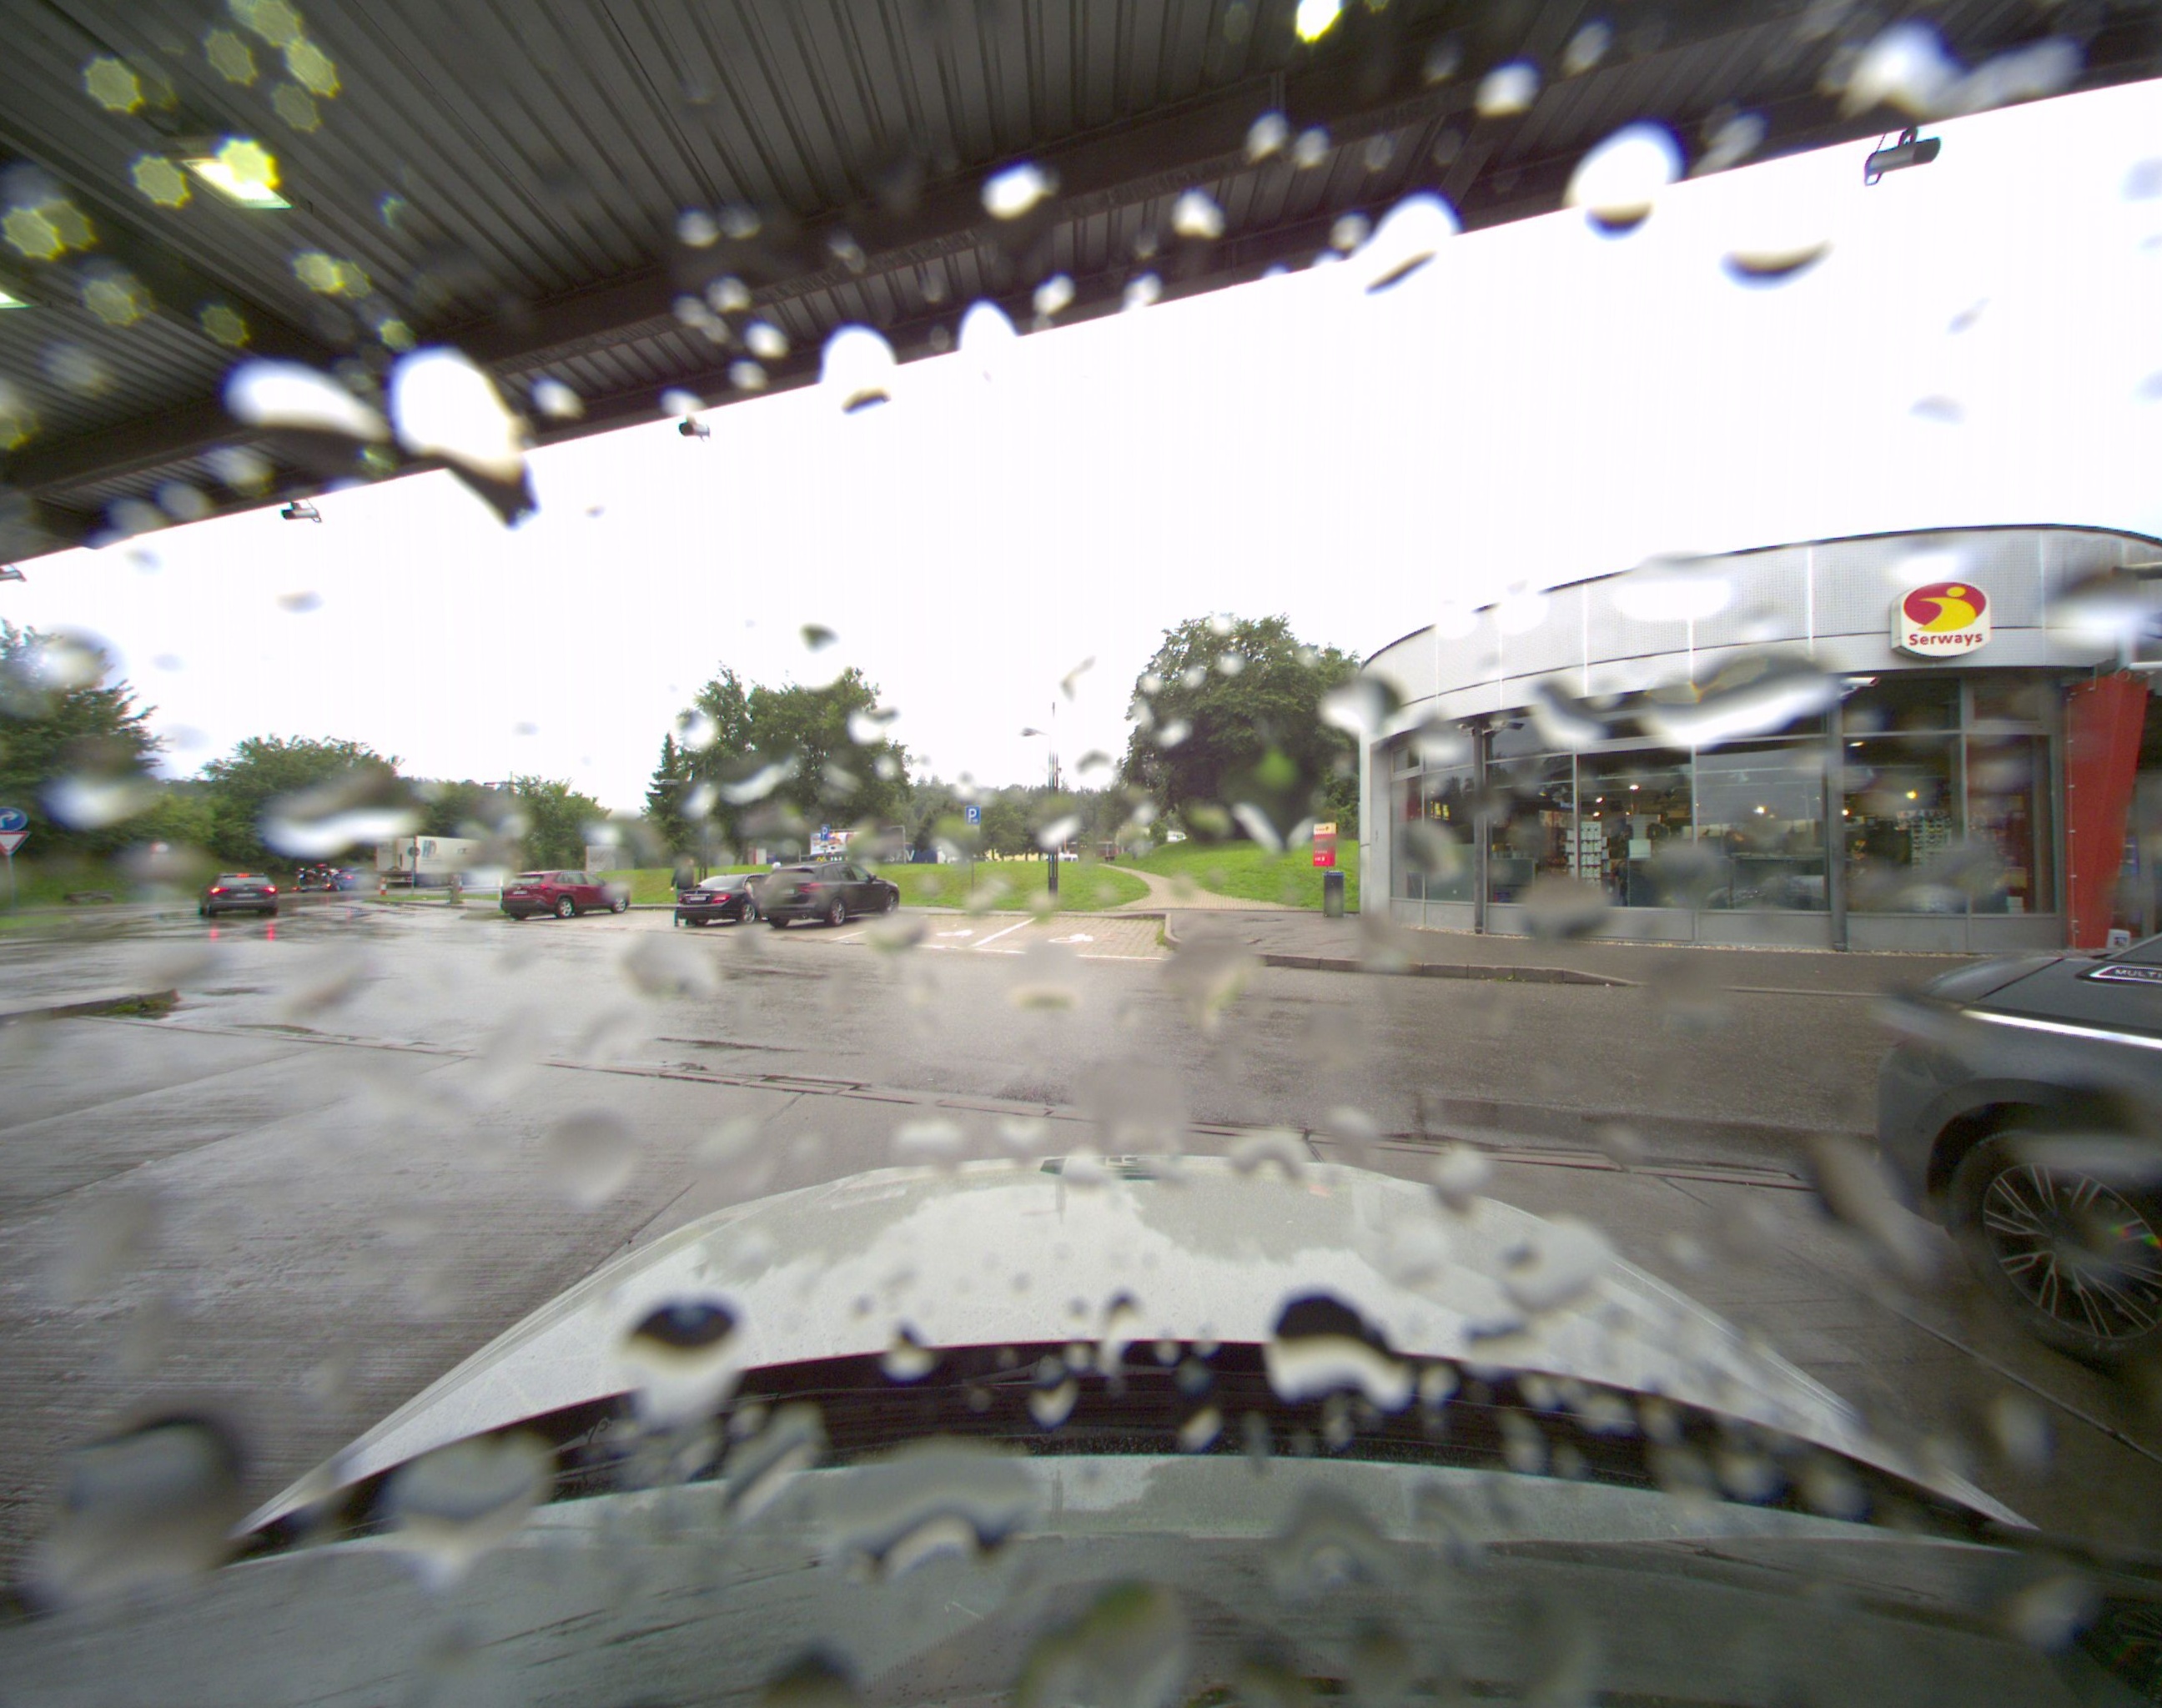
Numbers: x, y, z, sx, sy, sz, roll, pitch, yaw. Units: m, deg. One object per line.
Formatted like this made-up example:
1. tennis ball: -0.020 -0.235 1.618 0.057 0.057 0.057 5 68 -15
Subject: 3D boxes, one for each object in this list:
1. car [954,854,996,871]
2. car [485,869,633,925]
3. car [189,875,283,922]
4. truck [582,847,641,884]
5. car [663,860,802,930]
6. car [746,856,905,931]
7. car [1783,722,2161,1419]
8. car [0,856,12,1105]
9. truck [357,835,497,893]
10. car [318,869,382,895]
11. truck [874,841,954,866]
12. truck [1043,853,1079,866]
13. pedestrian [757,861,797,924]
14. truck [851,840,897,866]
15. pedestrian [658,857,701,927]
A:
1. car: -11.414 0.907 87.965 4.153 1.783 1.825 0 -1 -34
2. car: -18.144 1.439 28.589 1.928 1.644 4.352 -2 0 7
3. car: -32.646 1.673 31.444 3.948 1.678 2.013 -2 -1 37
4. truck: -41.310 1.020 71.937 2.480 3.085 7.323 0 -1 -13
5. car: -9.841 1.079 23.421 2.010 1.711 4.344 -2 0 1
6. car: -6.655 0.969 21.777 2.002 1.711 4.360 -2 0 14
7. car: 3.668 0.542 0.674 1.854 1.798 5.142 0 -1 2
8. car: -7.974 0.801 2.673 1.854 1.608 5.273 0 -1 2
9. truck: -55.451 0.835 69.974 3.550 4.340 16.899 0 -1 -18
10. car: -50.350 1.875 56.170 1.814 1.681 3.927 0 -1 -18
11. truck: -20.759 -0.059 102.343 2.165 2.920 13.175 -1 -1 26
12. truck: -3.254 0.873 134.102 5.356 2.014 2.381 -1 -1 26
13. pedestrian: -8.087 1.015 21.679 0.955 1.631 0.698 0 -1 -25
14. truck: -24.191 -0.091 95.452 2.165 2.920 5.419 -1 -1 27
15. pedestrian: -11.063 1.020 22.439 0.882 1.887 0.708 -1 -1 31
